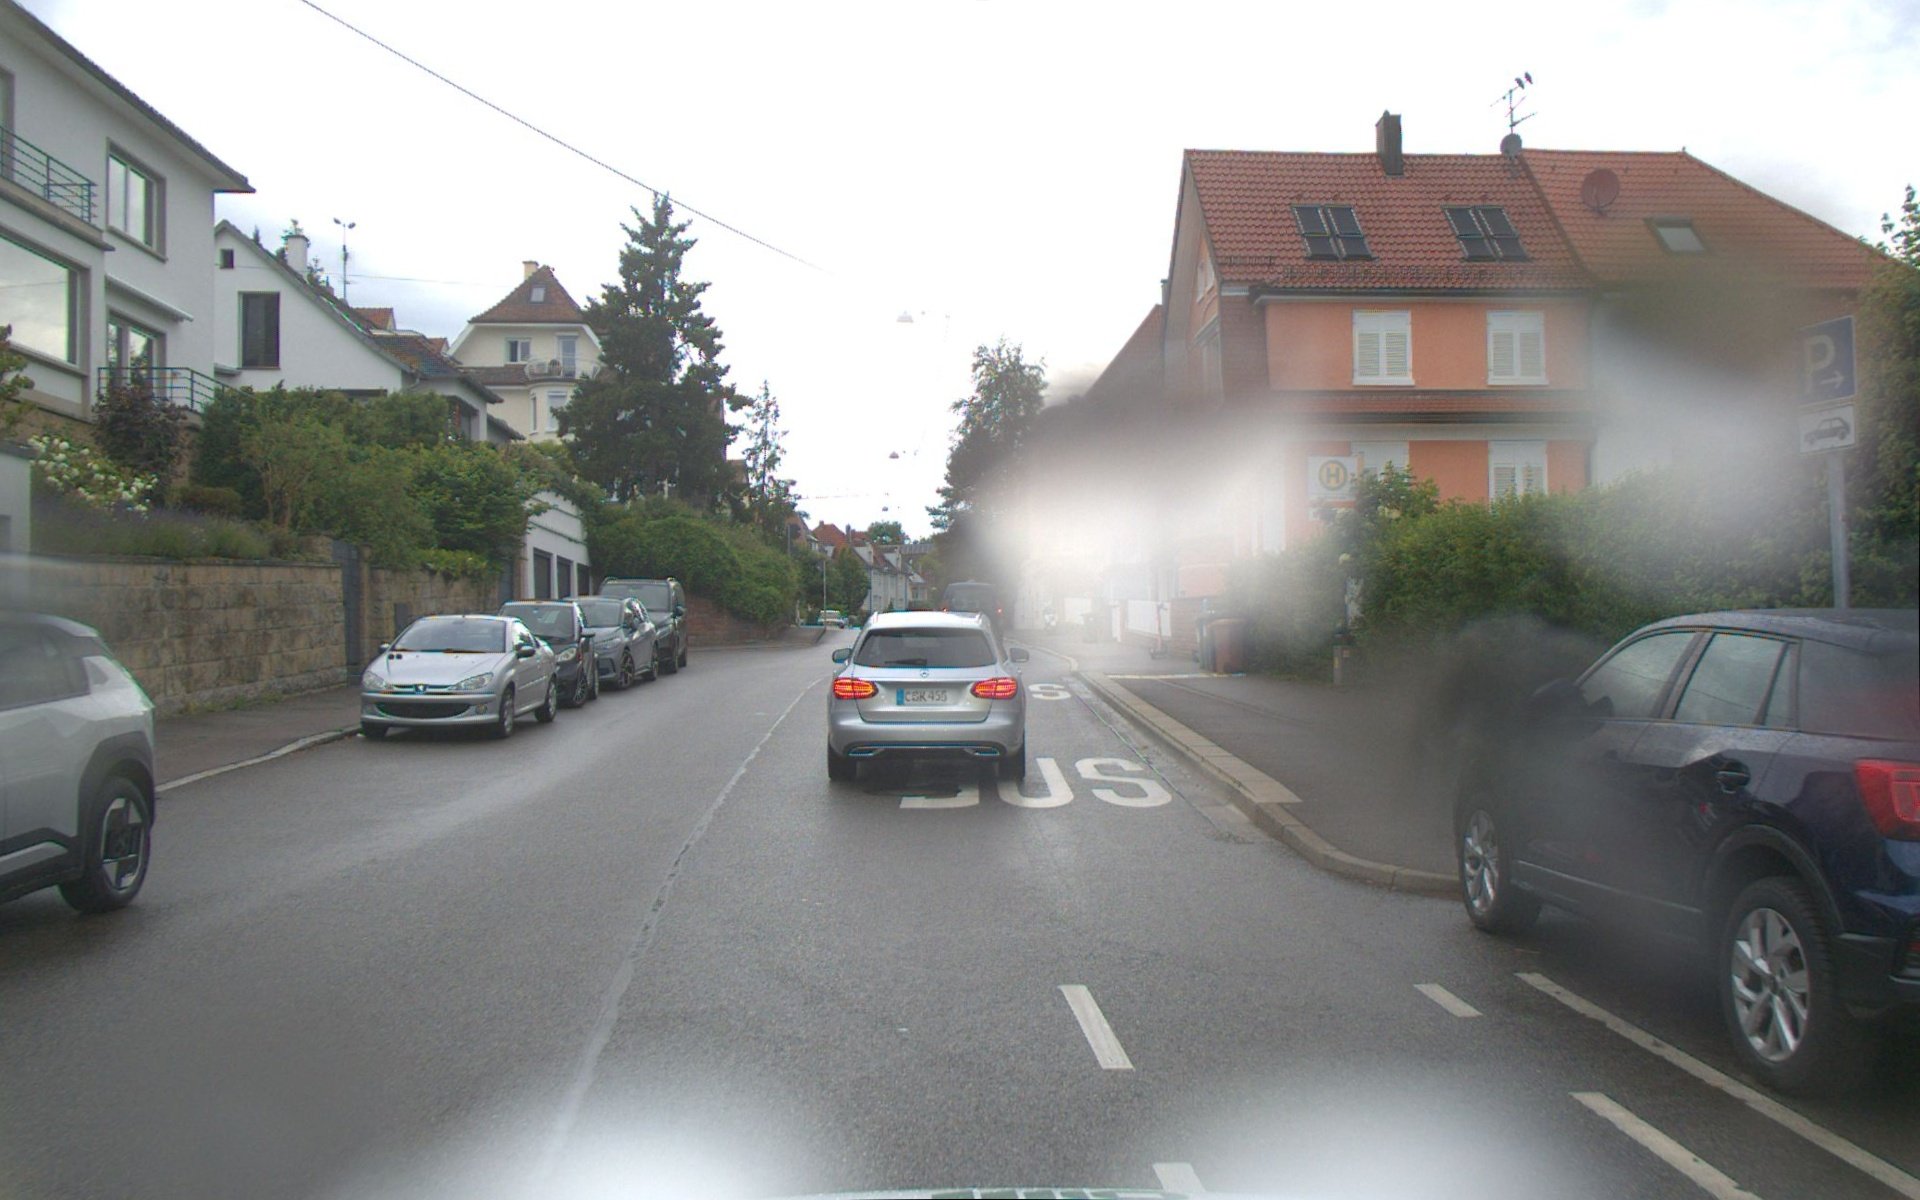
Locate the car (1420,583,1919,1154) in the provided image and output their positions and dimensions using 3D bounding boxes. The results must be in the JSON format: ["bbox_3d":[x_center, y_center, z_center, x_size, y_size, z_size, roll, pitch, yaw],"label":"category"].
[{"bbox_3d":[3.372,0.734,6.608,1.719,1.557,4.203,0,0,-3],"label":"car"}]

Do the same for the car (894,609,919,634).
[{"bbox_3d":[-5.760,2.293,177.363,2.417,2.441,4.000,-4,0,0],"label":"car"}]

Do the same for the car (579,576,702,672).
[{"bbox_3d":[-6.717,0.463,35.324,2.088,1.892,5.586,0,0,-6],"label":"car"}]

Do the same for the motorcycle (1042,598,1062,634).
[{"bbox_3d":[3.359,0.573,60.395,0.570,1.283,2.331,-3,0,1],"label":"motorcycle"}]

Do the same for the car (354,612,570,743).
[{"bbox_3d":[-5.891,0.862,20.001,1.577,1.361,3.839,0,1,-2],"label":"car"}]

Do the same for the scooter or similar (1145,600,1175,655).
[{"bbox_3d":[4.710,0.637,39.008,0.678,1.245,1.300,0,0,5],"label":"scooter or similar"}]

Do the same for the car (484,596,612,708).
[{"bbox_3d":[-6.174,0.727,25.028,1.468,1.550,3.154,0,0,-7],"label":"car"}]

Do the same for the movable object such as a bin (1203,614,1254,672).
[{"bbox_3d":[4.723,0.746,29.101,0.565,0.986,0.662,1,0,-35],"label":"movable object such as a bin"}]

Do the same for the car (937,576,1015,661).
[{"bbox_3d":[0.393,0.432,42.809,1.787,1.915,4.095,-4,1,0],"label":"car"}]

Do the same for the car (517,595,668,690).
[{"bbox_3d":[-6.441,0.693,29.452,1.860,1.541,4.340,1,0,-2],"label":"car"}]

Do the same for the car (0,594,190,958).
[{"bbox_3d":[-5.159,0.802,7.074,1.860,1.595,4.236,-1,0,-3],"label":"car"}]

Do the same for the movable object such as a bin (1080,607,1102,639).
[{"bbox_3d":[4.003,0.697,50.664,0.538,0.952,0.633,-4,0,-2],"label":"movable object such as a bin"}]

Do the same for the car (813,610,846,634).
[{"bbox_3d":[-8.543,1.434,108.728,2.075,1.497,4.014,0,0,-4],"label":"car"}]

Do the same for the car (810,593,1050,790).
[{"bbox_3d":[-0.281,0.734,15.579,1.942,1.581,4.297,0,0,-1],"label":"car"}]

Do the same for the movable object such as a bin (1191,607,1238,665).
[{"bbox_3d":[4.778,0.667,31.055,0.697,1.047,0.757,-2,0,-4],"label":"movable object such as a bin"}]
